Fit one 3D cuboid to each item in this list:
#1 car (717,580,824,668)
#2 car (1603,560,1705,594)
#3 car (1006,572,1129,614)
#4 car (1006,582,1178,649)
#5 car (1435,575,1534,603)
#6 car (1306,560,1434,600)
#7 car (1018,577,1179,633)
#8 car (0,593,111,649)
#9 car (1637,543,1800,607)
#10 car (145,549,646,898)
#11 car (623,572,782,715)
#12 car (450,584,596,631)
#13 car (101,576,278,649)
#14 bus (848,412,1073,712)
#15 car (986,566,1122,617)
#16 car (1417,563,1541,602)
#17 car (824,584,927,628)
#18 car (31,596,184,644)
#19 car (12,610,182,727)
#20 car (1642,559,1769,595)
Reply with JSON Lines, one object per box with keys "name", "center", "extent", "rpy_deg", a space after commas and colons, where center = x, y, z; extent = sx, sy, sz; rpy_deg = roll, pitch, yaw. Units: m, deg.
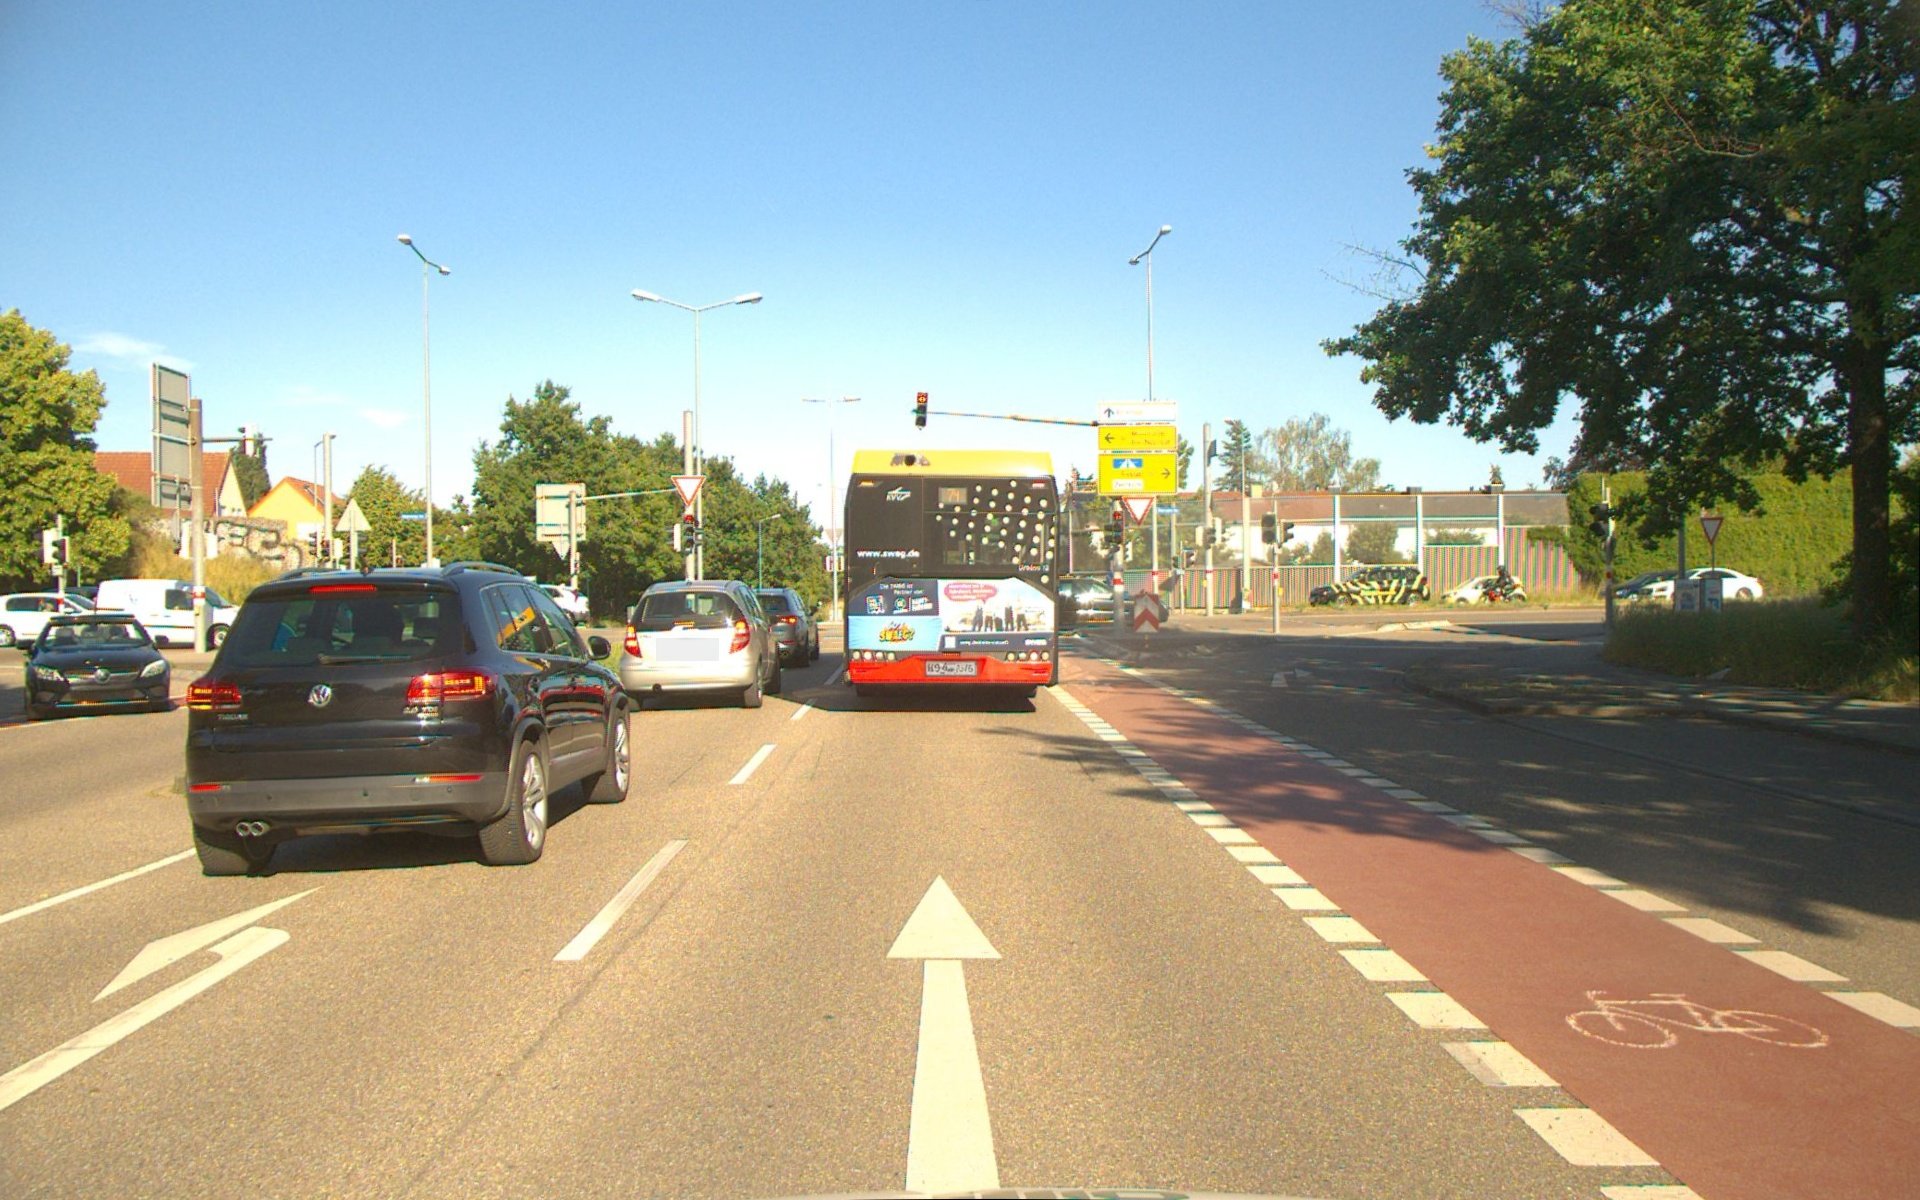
{"name": "car", "center": [-3.465, 0.431, 30.790], "extent": [1.556, 1.511, 3.682], "rpy_deg": [-1, 0, 0]}
{"name": "car", "center": [27.984, -0.934, 66.734], "extent": [3.453, 1.325, 1.574], "rpy_deg": [-1, 0, -4]}
{"name": "car", "center": [3.909, -0.240, 60.328], "extent": [4.326, 1.485, 1.573], "rpy_deg": [0, 0, -4]}
{"name": "car", "center": [2.761, 0.316, 34.232], "extent": [3.447, 1.325, 1.576], "rpy_deg": [0, 1, 8]}
{"name": "car", "center": [22.037, -0.461, 69.538], "extent": [3.682, 1.156, 1.574], "rpy_deg": [-1, 0, -4]}
{"name": "car", "center": [14.336, -0.683, 57.877], "extent": [4.077, 1.325, 1.573], "rpy_deg": [0, 0, -4]}
{"name": "car", "center": [3.947, 0.136, 47.486], "extent": [4.376, 1.466, 1.681], "rpy_deg": [-1, 1, -6]}
{"name": "car", "center": [-26.457, 0.602, 47.223], "extent": [3.600, 1.511, 1.591], "rpy_deg": [-1, 0, -7]}
{"name": "car", "center": [16.481, -0.516, 35.921], "extent": [3.355, 1.318, 1.448], "rpy_deg": [1, -1, -26]}
{"name": "car", "center": [-3.240, 0.636, 10.388], "extent": [1.784, 1.702, 4.002], "rpy_deg": [-2, 0, -1]}
{"name": "car", "center": [-3.321, 0.490, 21.982], "extent": [1.719, 1.648, 4.031], "rpy_deg": [-1, 2, -4]}
{"name": "car", "center": [-15.248, 0.232, 57.925], "extent": [4.610, 1.567, 1.998], "rpy_deg": [-1, 0, -5]}
{"name": "car", "center": [-20.629, 0.330, 44.386], "extent": [4.032, 1.832, 1.456], "rpy_deg": [-1, 0, -6]}
{"name": "bus", "center": [-0.066, -0.493, 24.799], "extent": [2.543, 3.393, 11.982], "rpy_deg": [0, 1, -1]}
{"name": "car", "center": [2.993, -0.261, 53.169], "extent": [4.139, 1.590, 1.761], "rpy_deg": [0, 0, -5]}
{"name": "car", "center": [19.689, -0.677, 62.792], "extent": [4.204, 1.423, 1.573], "rpy_deg": [-1, 0, -4]}
{"name": "car", "center": [-3.305, 0.214, 64.322], "extent": [3.910, 1.640, 1.693], "rpy_deg": [-1, 0, -6]}
{"name": "car", "center": [-25.993, 0.611, 50.520], "extent": [3.775, 1.409, 1.679], "rpy_deg": [0, 0, -9]}
{"name": "car", "center": [-12.825, 0.945, 24.458], "extent": [1.973, 1.427, 4.541], "rpy_deg": [-4, 1, -30]}
{"name": "car", "center": [28.489, -0.883, 63.284], "extent": [4.204, 1.325, 1.573], "rpy_deg": [-1, 0, -4]}
